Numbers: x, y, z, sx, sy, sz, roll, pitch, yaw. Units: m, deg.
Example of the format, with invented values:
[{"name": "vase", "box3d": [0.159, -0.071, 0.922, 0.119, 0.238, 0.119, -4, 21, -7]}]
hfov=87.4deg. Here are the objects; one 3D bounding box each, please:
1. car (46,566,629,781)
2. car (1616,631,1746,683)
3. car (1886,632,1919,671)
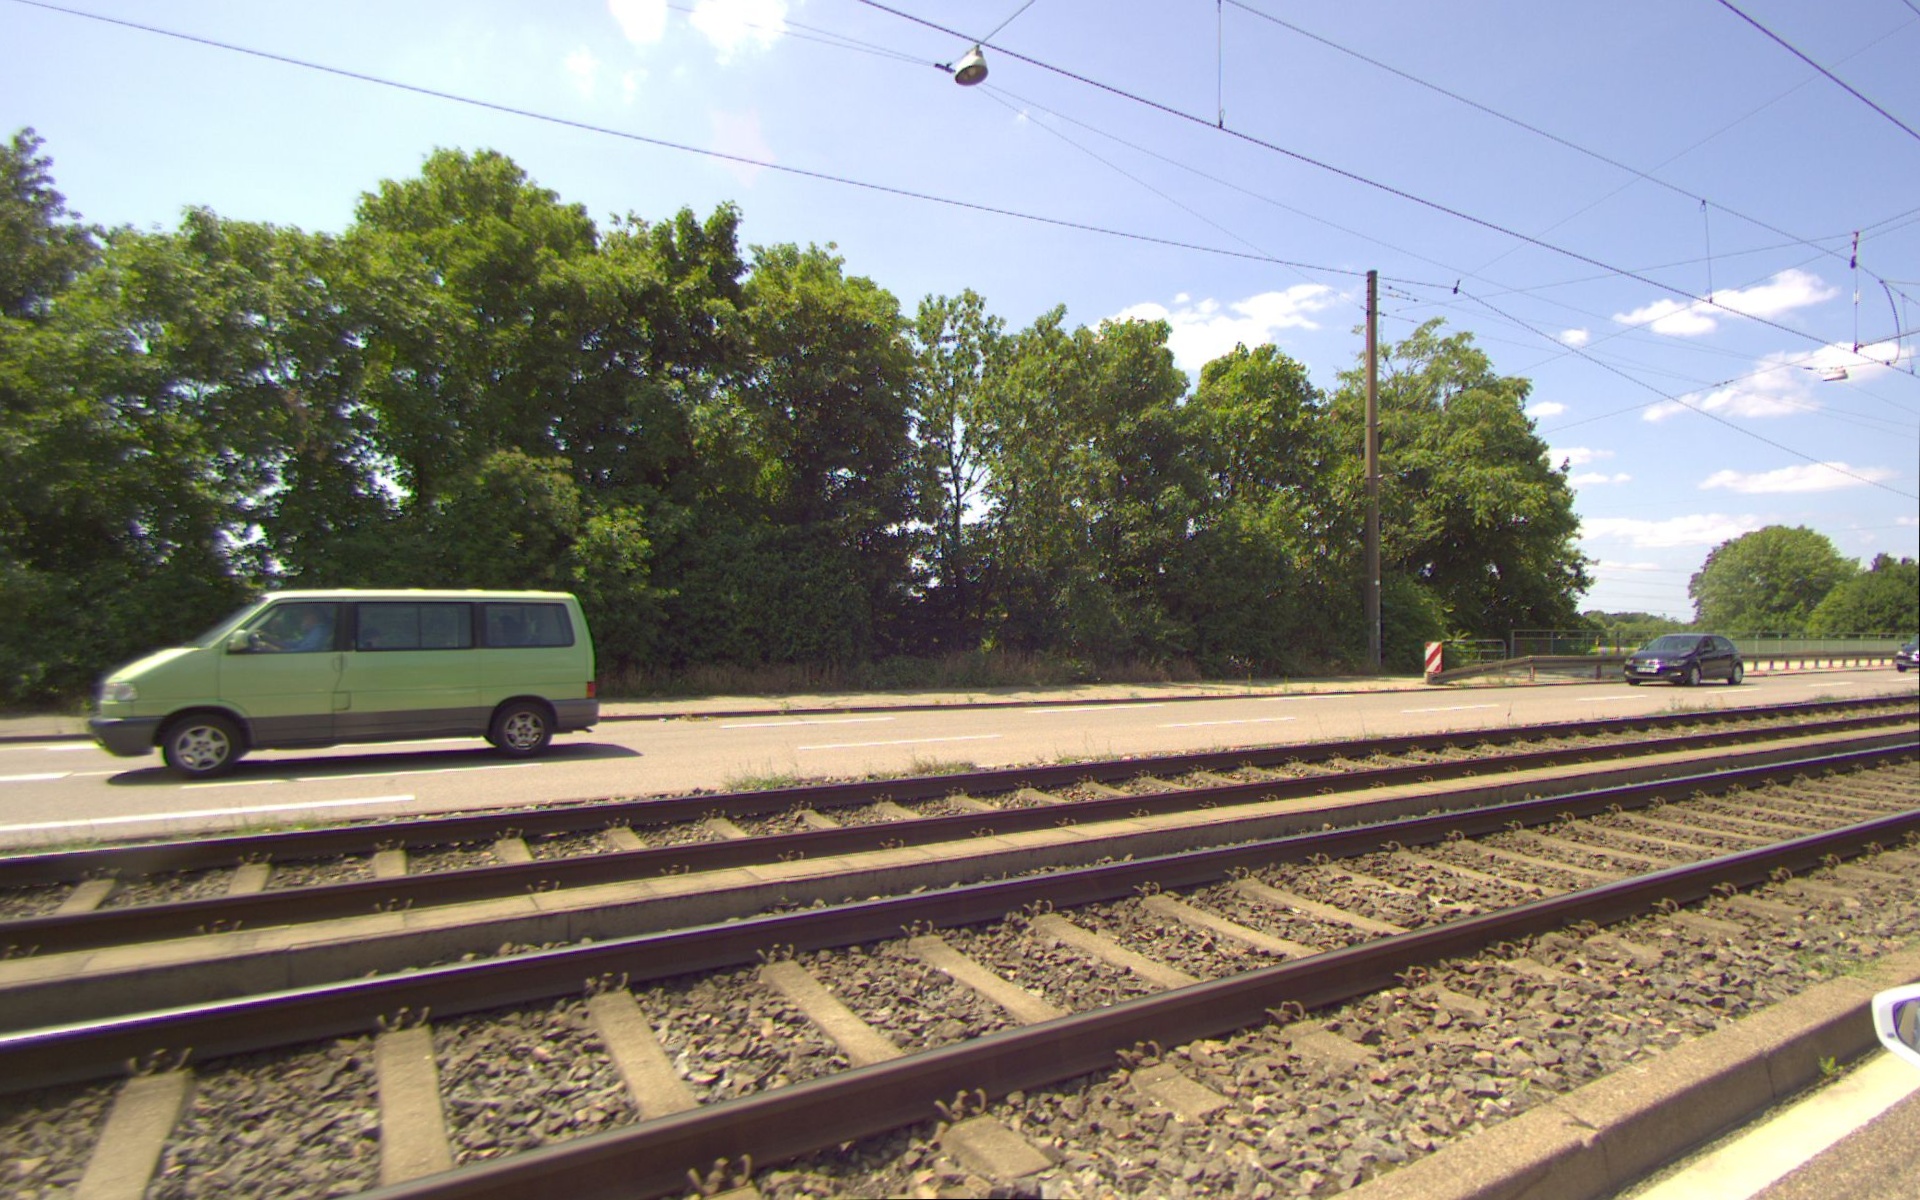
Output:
[{"name": "car", "box3d": [-6.534, 0.762, 11.236, 5.119, 1.950, 1.803, 2, -3, -31]}, {"name": "car", "box3d": [20.352, 1.586, 28.311, 3.883, 1.365, 1.556, 2, -3, -31]}, {"name": "car", "box3d": [36.177, 1.905, 37.336, 3.893, 1.418, 1.566, 2, -2, -31]}]
